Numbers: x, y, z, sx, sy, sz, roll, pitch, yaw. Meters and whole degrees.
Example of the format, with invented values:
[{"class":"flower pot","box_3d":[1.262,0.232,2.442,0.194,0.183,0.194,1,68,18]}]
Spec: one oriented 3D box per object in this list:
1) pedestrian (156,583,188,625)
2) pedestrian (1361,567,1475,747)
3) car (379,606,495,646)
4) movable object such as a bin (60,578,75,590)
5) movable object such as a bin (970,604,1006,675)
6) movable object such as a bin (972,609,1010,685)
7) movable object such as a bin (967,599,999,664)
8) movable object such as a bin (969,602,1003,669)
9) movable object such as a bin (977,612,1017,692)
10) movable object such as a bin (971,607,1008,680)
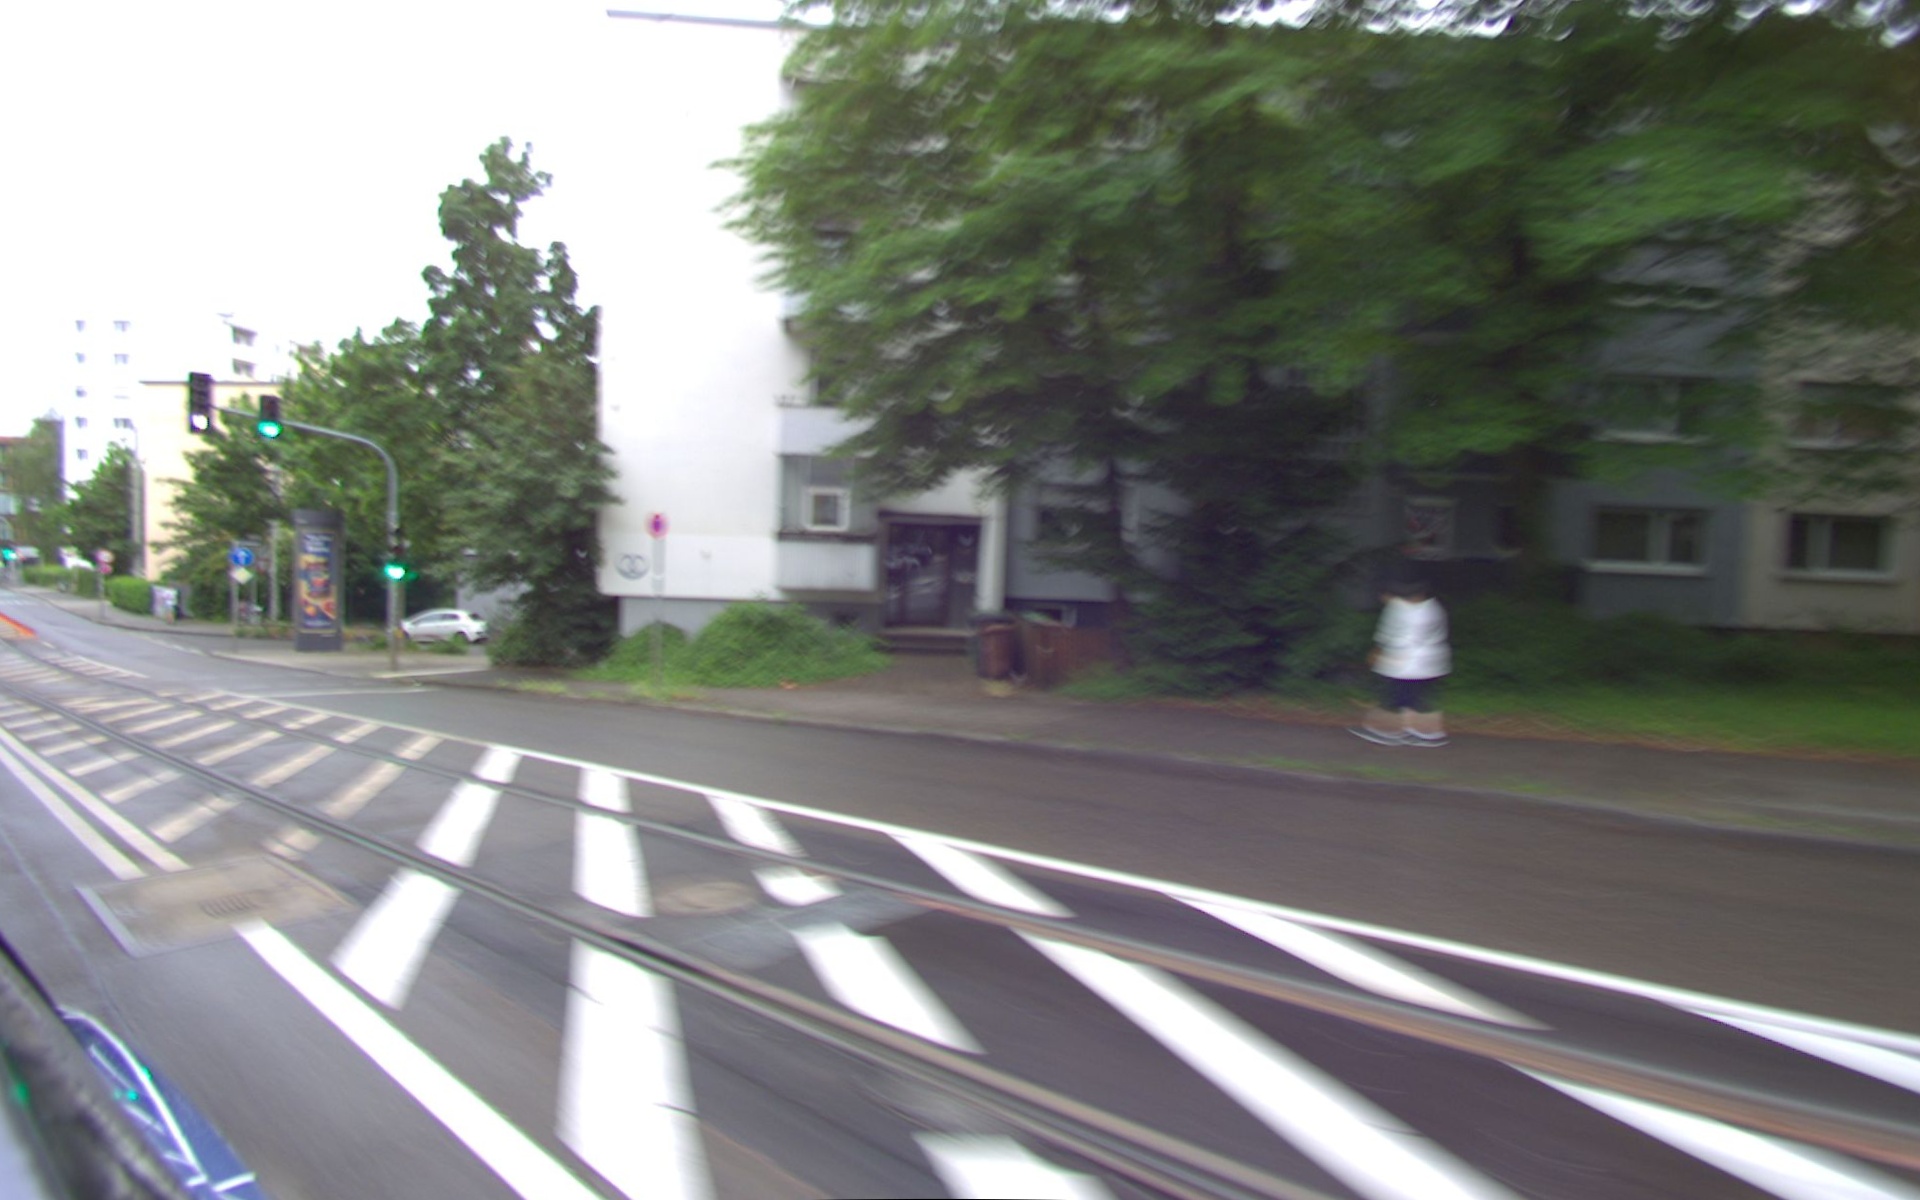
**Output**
[{"class":"pedestrian","box_3d":[-36.684,0.183,47.101,1.016,1.859,0.910,4,5,37]},{"class":"pedestrian","box_3d":[4.360,0.511,9.637,0.868,1.612,0.577,0,3,39]},{"class":"car","box_3d":[-22.849,1.126,44.335,4.100,1.491,2.002,1,4,-2]},{"class":"movable object such as a bin","box_3d":[-65.692,-1.180,74.498,0.759,0.888,0.680,4,4,37]},{"class":"movable object such as a bin","box_3d":[0.516,0.729,18.975,0.618,1.242,0.667,1,3,0]},{"class":"movable object such as a bin","box_3d":[0.535,0.816,17.647,0.618,1.242,0.667,1,3,0]},{"class":"movable object such as a bin","box_3d":[0.459,0.633,20.436,0.618,1.242,0.627,1,3,0]},{"class":"movable object such as a bin","box_3d":[0.502,0.681,19.703,0.618,1.242,0.667,1,3,0]},{"class":"movable object such as a bin","box_3d":[0.611,0.861,16.980,0.618,1.242,0.667,1,3,0]},{"class":"movable object such as a bin","box_3d":[0.527,0.774,18.290,0.618,1.242,0.667,1,3,0]}]
